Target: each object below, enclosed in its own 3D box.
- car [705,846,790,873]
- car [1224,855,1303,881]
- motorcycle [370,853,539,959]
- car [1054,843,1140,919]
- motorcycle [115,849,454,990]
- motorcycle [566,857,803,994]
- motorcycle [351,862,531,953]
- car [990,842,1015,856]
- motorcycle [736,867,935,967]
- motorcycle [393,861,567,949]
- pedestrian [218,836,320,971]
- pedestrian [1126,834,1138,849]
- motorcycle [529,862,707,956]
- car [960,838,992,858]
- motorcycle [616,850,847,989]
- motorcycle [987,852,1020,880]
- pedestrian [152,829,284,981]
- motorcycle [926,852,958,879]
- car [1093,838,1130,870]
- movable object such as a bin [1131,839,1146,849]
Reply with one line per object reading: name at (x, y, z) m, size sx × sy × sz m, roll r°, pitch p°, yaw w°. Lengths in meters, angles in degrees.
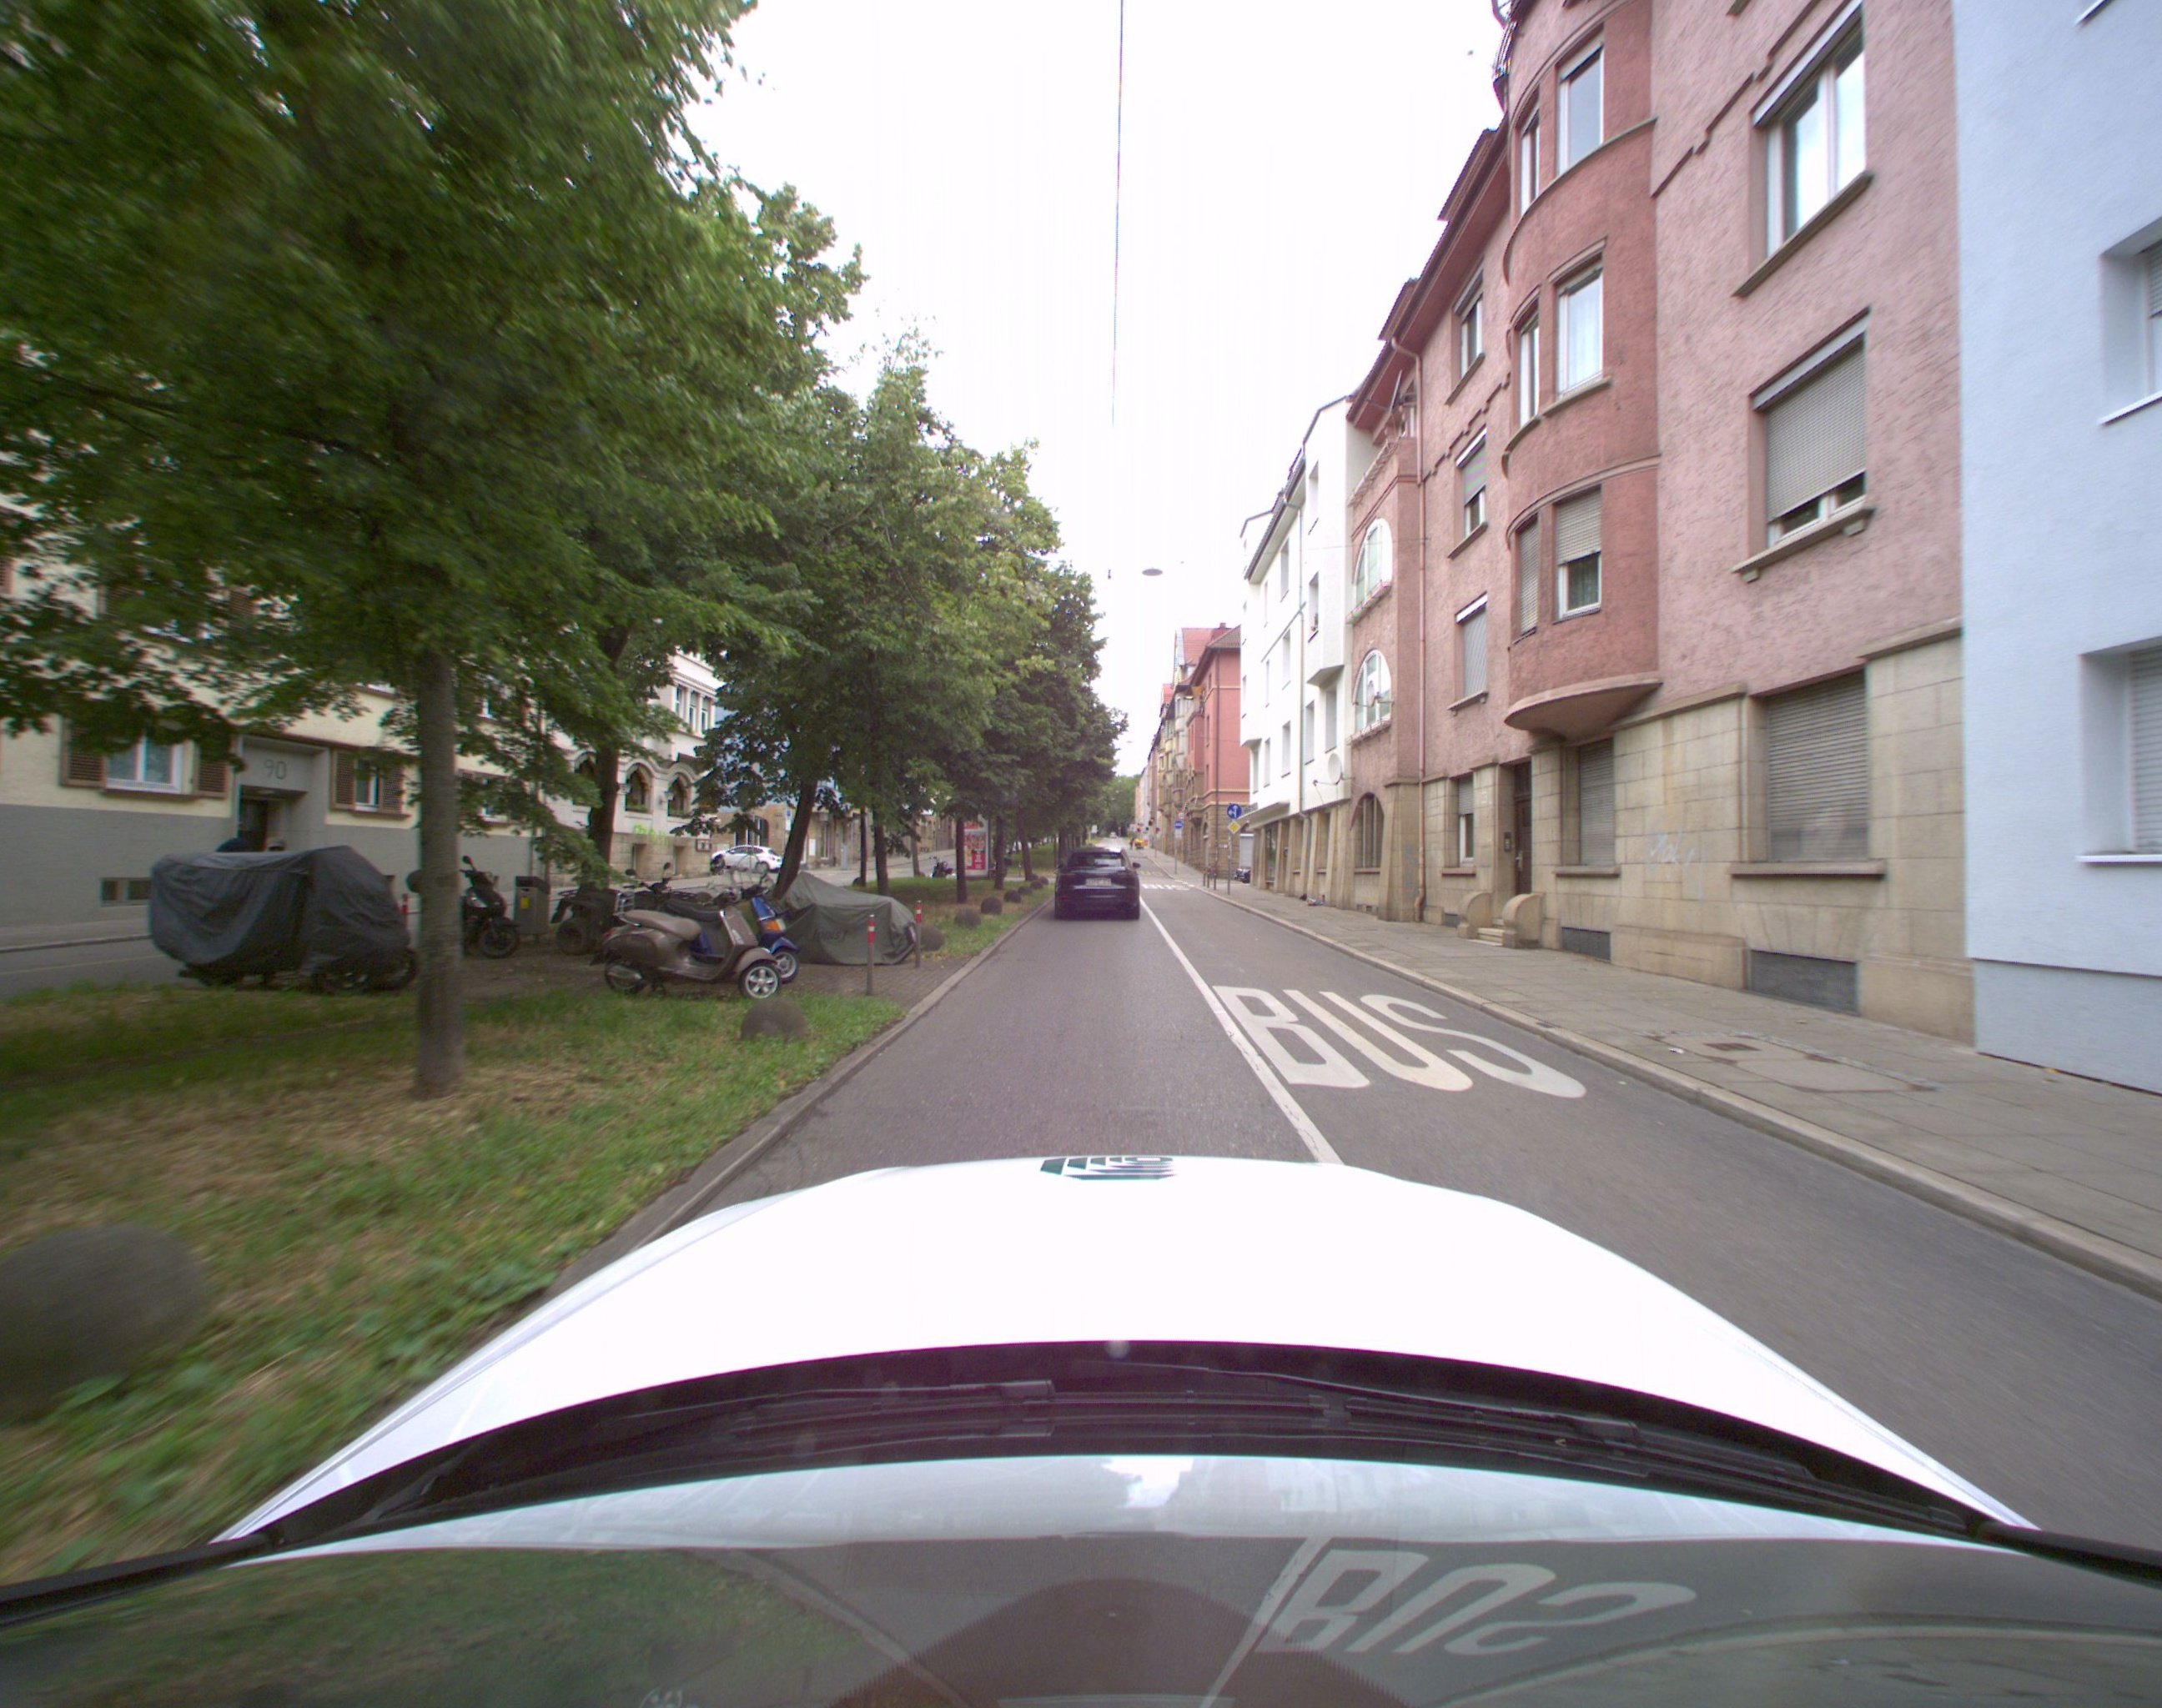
car at (-18.982, 0.309, 46.452) m, size 3.972 × 1.497 × 2.001 m, roll 0°, pitch 0°, yaw 1°
car at (10.214, 0.753, 45.600) m, size 4.010 × 1.376 × 1.982 m, roll -1°, pitch 0°, yaw -29°
motorcycle at (-8.288, 0.672, 10.817) m, size 1.756 × 1.339 × 0.624 m, roll -1°, pitch -1°, yaw 0°
car at (0.373, 0.586, 20.116) m, size 1.897 × 1.666 × 4.135 m, roll 0°, pitch 0°, yaw 0°
motorcycle at (-7.944, 0.614, 8.233) m, size 2.374 × 1.317 × 1.046 m, roll 0°, pitch 0°, yaw 0°
motorcycle at (-3.920, 0.692, 8.194) m, size 1.918 × 1.297 × 0.893 m, roll 0°, pitch -2°, yaw 0°
motorcycle at (-8.950, 0.737, 11.430) m, size 2.102 × 1.235 × 0.516 m, roll 0°, pitch 0°, yaw 0°
car at (-8.094, -0.525, 84.550) m, size 1.986 × 1.483 × 4.534 m, roll 0°, pitch 0°, yaw 2°
motorcycle at (-3.253, 0.820, 10.995) m, size 2.348 × 1.235 × 1.033 m, roll 0°, pitch 1°, yaw 0°
motorcycle at (-8.889, 0.744, 12.088) m, size 2.123 × 1.235 × 0.623 m, roll -1°, pitch -1°, yaw 1°
pedestrian at (-10.035, 0.591, 10.076) m, size 0.660 × 1.616 × 0.580 m, roll 1°, pitch 0°, yaw 3°
pedestrian at (7.139, -1.755, 114.239) m, size 1.310 × 2.013 × 1.009 m, roll 0°, pitch 0°, yaw -33°
motorcycle at (-6.476, 0.742, 11.458) m, size 2.018 × 1.235 × 0.898 m, roll 0°, pitch 0°, yaw 6°
car at (-8.930, -0.491, 69.634) m, size 1.986 × 1.624 × 4.818 m, roll 0°, pitch 0°, yaw 2°
motorcycle at (-3.855, 0.687, 9.103) m, size 2.184 × 1.438 × 0.875 m, roll 1°, pitch 0°, yaw 4°
motorcycle at (-3.352, 0.507, 35.427) m, size 1.058 × 1.148 × 2.449 m, roll 0°, pitch 0°, yaw 2°
pedestrian at (-9.650, 0.539, 9.130) m, size 0.631 × 1.613 × 0.766 m, roll 1°, pitch 0°, yaw 7°
motorcycle at (-6.017, 0.504, 35.365) m, size 0.897 × 1.107 × 2.252 m, roll 0°, pitch -2°, yaw 2°
car at (1.729, -0.001, 46.172) m, size 1.986 × 1.753 × 4.002 m, roll 0°, pitch 0°, yaw 2°
movable object such as a bin at (8.017, -1.376, 113.035) m, size 1.245 × 1.274 × 1.827 m, roll 0°, pitch 0°, yaw -33°
